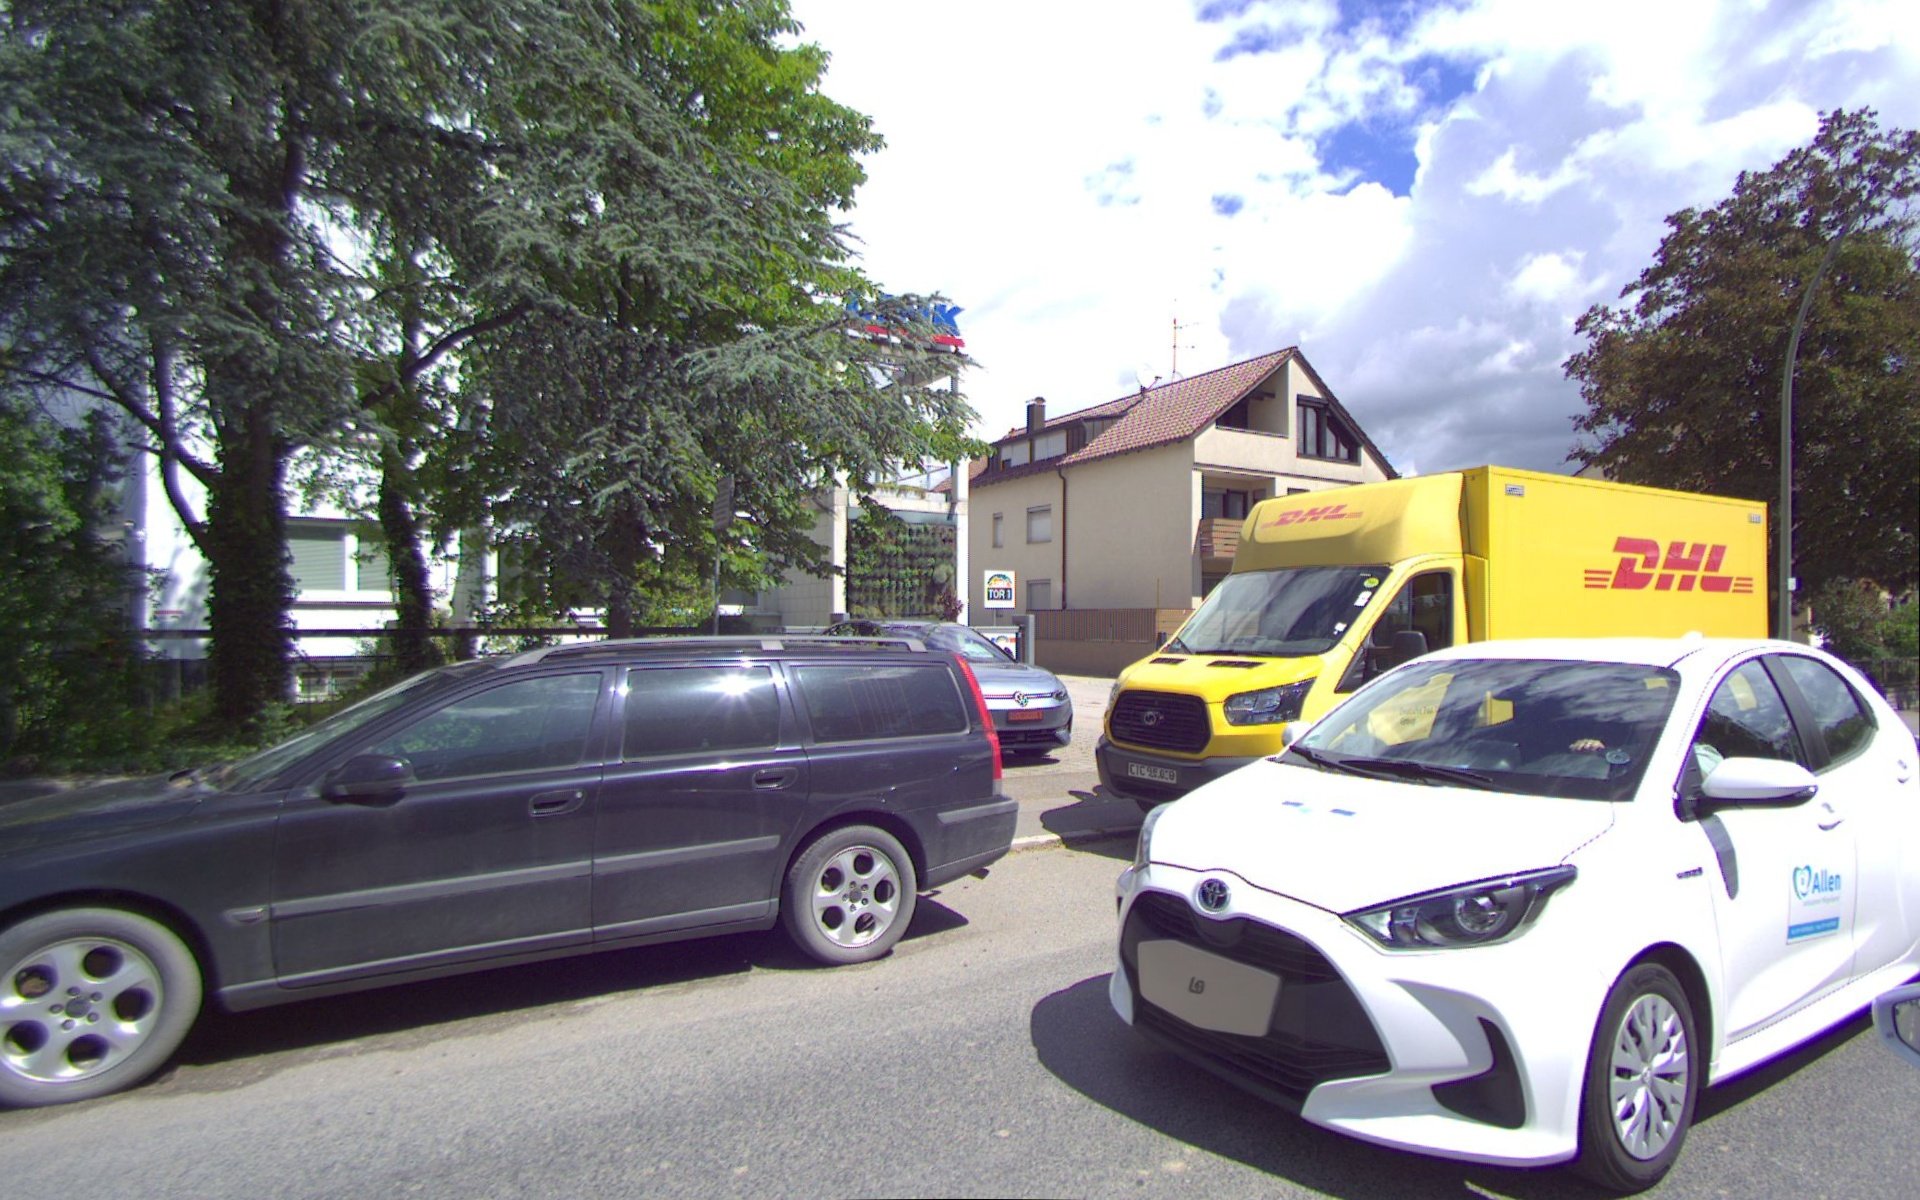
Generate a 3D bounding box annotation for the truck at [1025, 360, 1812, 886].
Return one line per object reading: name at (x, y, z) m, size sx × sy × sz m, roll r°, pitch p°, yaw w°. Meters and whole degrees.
truck at (4.399, 0.270, 8.822) m, size 7.730 × 3.042 × 2.312 m, roll 1°, pitch -4°, yaw -32°

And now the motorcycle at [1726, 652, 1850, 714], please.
motorcycle at (17.121, 1.694, 20.827) m, size 0.810 × 1.181 × 1.872 m, roll 1°, pitch -2°, yaw -13°

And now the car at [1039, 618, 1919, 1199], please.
car at (2.475, 0.837, 3.964) m, size 3.956 × 1.438 × 1.971 m, roll 2°, pitch -3°, yaw -32°

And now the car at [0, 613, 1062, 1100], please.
car at (-2.046, 0.895, 4.729) m, size 4.754 × 1.471 × 1.986 m, roll 1°, pitch -5°, yaw -30°

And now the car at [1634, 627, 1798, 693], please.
car at (23.045, 1.806, 30.558) m, size 5.416 × 1.854 × 2.070 m, roll 2°, pitch -3°, yaw -31°

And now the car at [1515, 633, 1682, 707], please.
car at (14.642, 1.540, 22.985) m, size 4.045 × 1.563 × 1.756 m, roll 2°, pitch -2°, yaw -34°

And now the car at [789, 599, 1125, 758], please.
car at (-0.304, 0.855, 12.546) m, size 1.950 × 1.572 × 4.983 m, roll 2°, pitch -2°, yaw -31°
